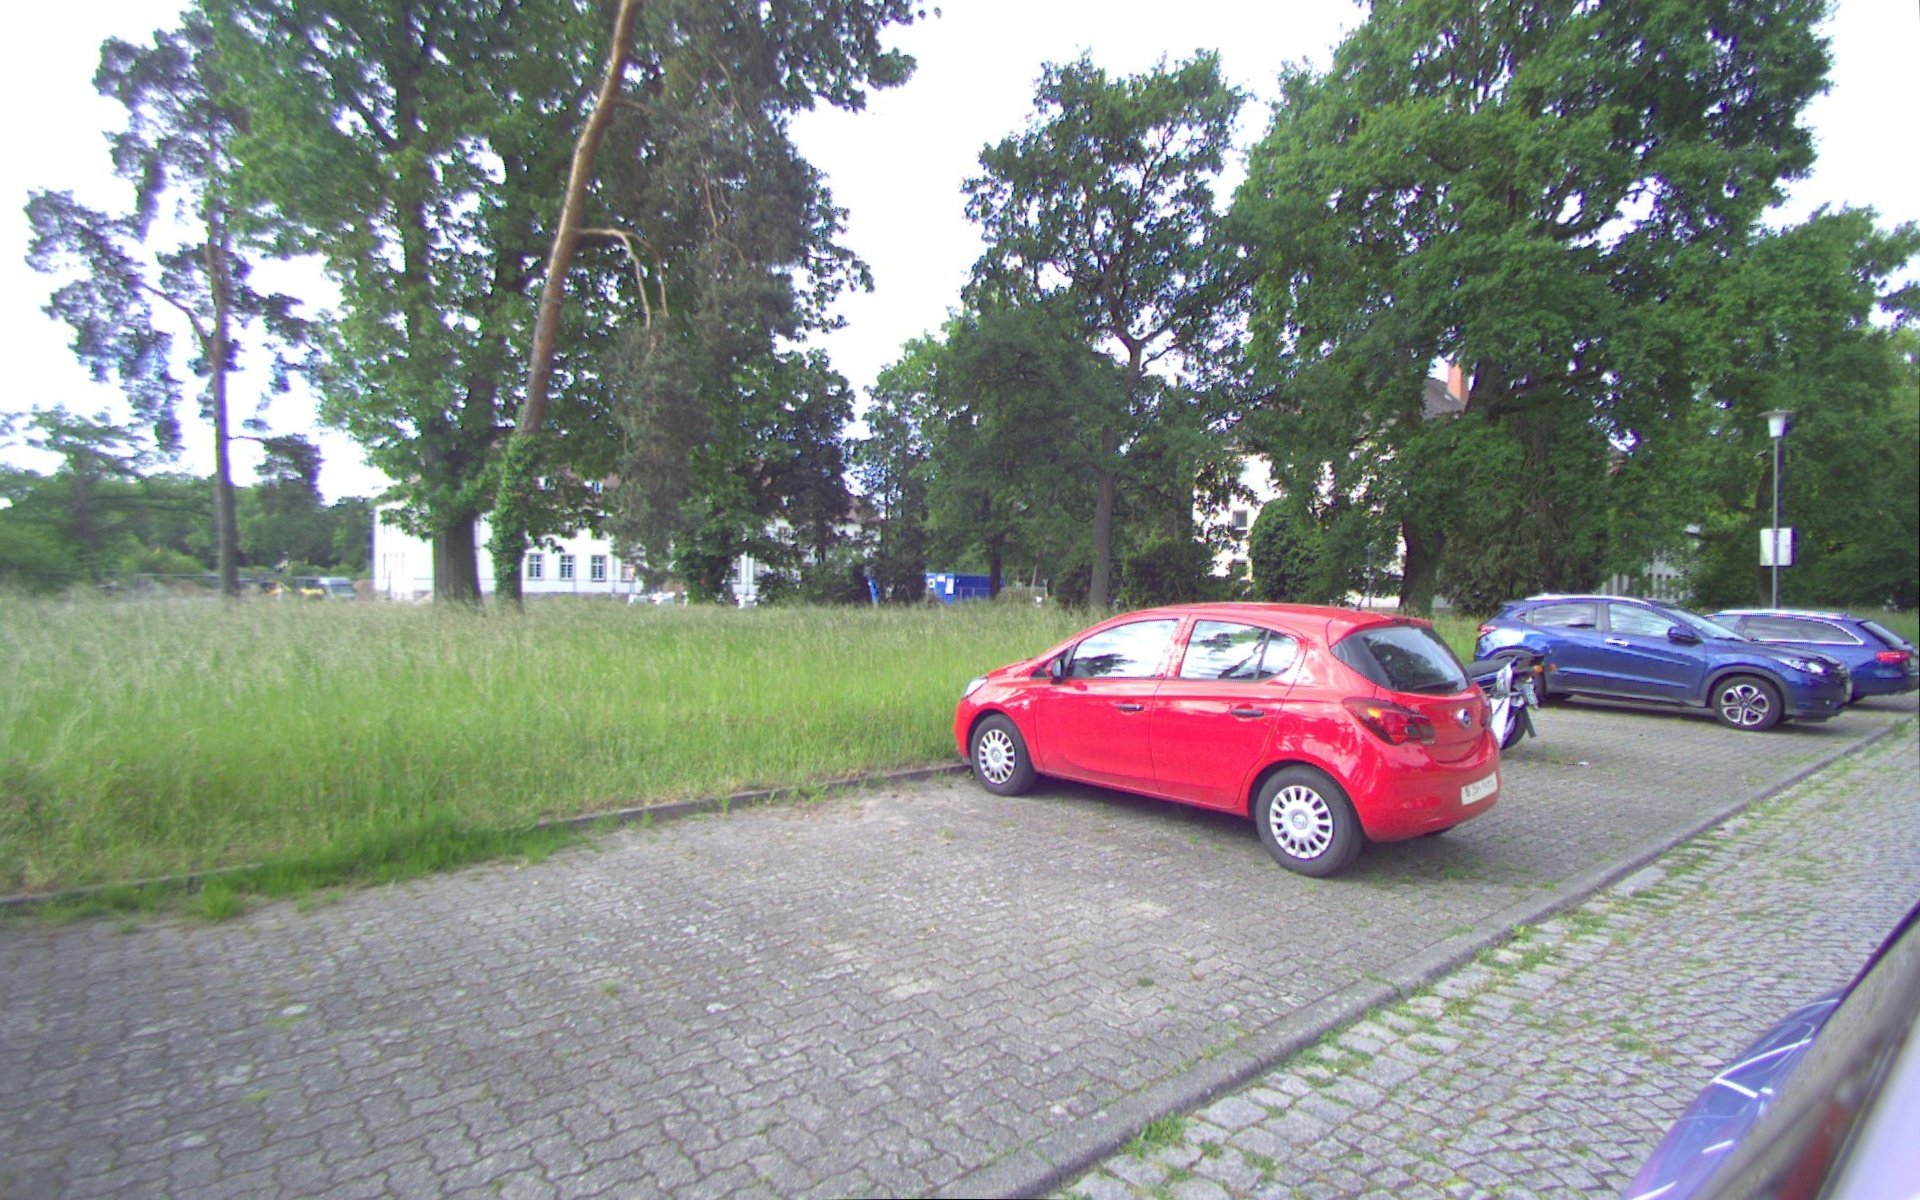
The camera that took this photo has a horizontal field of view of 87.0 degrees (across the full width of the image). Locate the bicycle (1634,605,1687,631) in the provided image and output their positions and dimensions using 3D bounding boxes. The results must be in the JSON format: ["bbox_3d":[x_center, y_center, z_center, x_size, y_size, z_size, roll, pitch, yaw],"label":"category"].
[{"bbox_3d":[31.390,0.798,45.379,1.839,1.137,0.616,0,0,27],"label":"bicycle"}]

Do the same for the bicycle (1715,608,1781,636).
[{"bbox_3d":[31.497,0.886,40.480,1.951,1.090,0.584,0,0,23],"label":"bicycle"}]

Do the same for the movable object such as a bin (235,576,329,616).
[{"bbox_3d":[-45.863,-0.257,68.463,5.898,2.689,2.162,0,0,19],"label":"movable object such as a bin"}]

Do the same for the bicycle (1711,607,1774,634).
[{"bbox_3d":[32.677,0.833,42.288,2.009,1.090,0.616,0,0,27],"label":"bicycle"}]

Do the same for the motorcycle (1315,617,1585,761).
[{"bbox_3d":[4.880,0.822,10.249,0.782,1.200,2.330,0,1,-43],"label":"motorcycle"}]

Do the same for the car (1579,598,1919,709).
[{"bbox_3d":[12.948,0.759,16.558,1.752,1.439,4.483,0,1,-37],"label":"car"}]

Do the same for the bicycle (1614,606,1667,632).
[{"bbox_3d":[29.622,0.816,44.093,1.839,1.137,0.616,0,0,27],"label":"bicycle"}]

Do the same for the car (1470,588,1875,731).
[{"bbox_3d":[9.387,0.645,13.622,1.762,1.591,4.170,-1,1,-40],"label":"car"}]

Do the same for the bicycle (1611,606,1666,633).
[{"bbox_3d":[28.630,0.819,42.741,1.839,1.137,0.616,0,0,27],"label":"bicycle"}]

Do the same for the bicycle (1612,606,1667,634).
[{"bbox_3d":[28.310,0.820,42.190,1.839,1.137,0.616,0,0,27],"label":"bicycle"}]

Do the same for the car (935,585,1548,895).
[{"bbox_3d":[1.712,0.680,7.132,1.748,1.478,3.833,0,2,-41],"label":"car"}]
